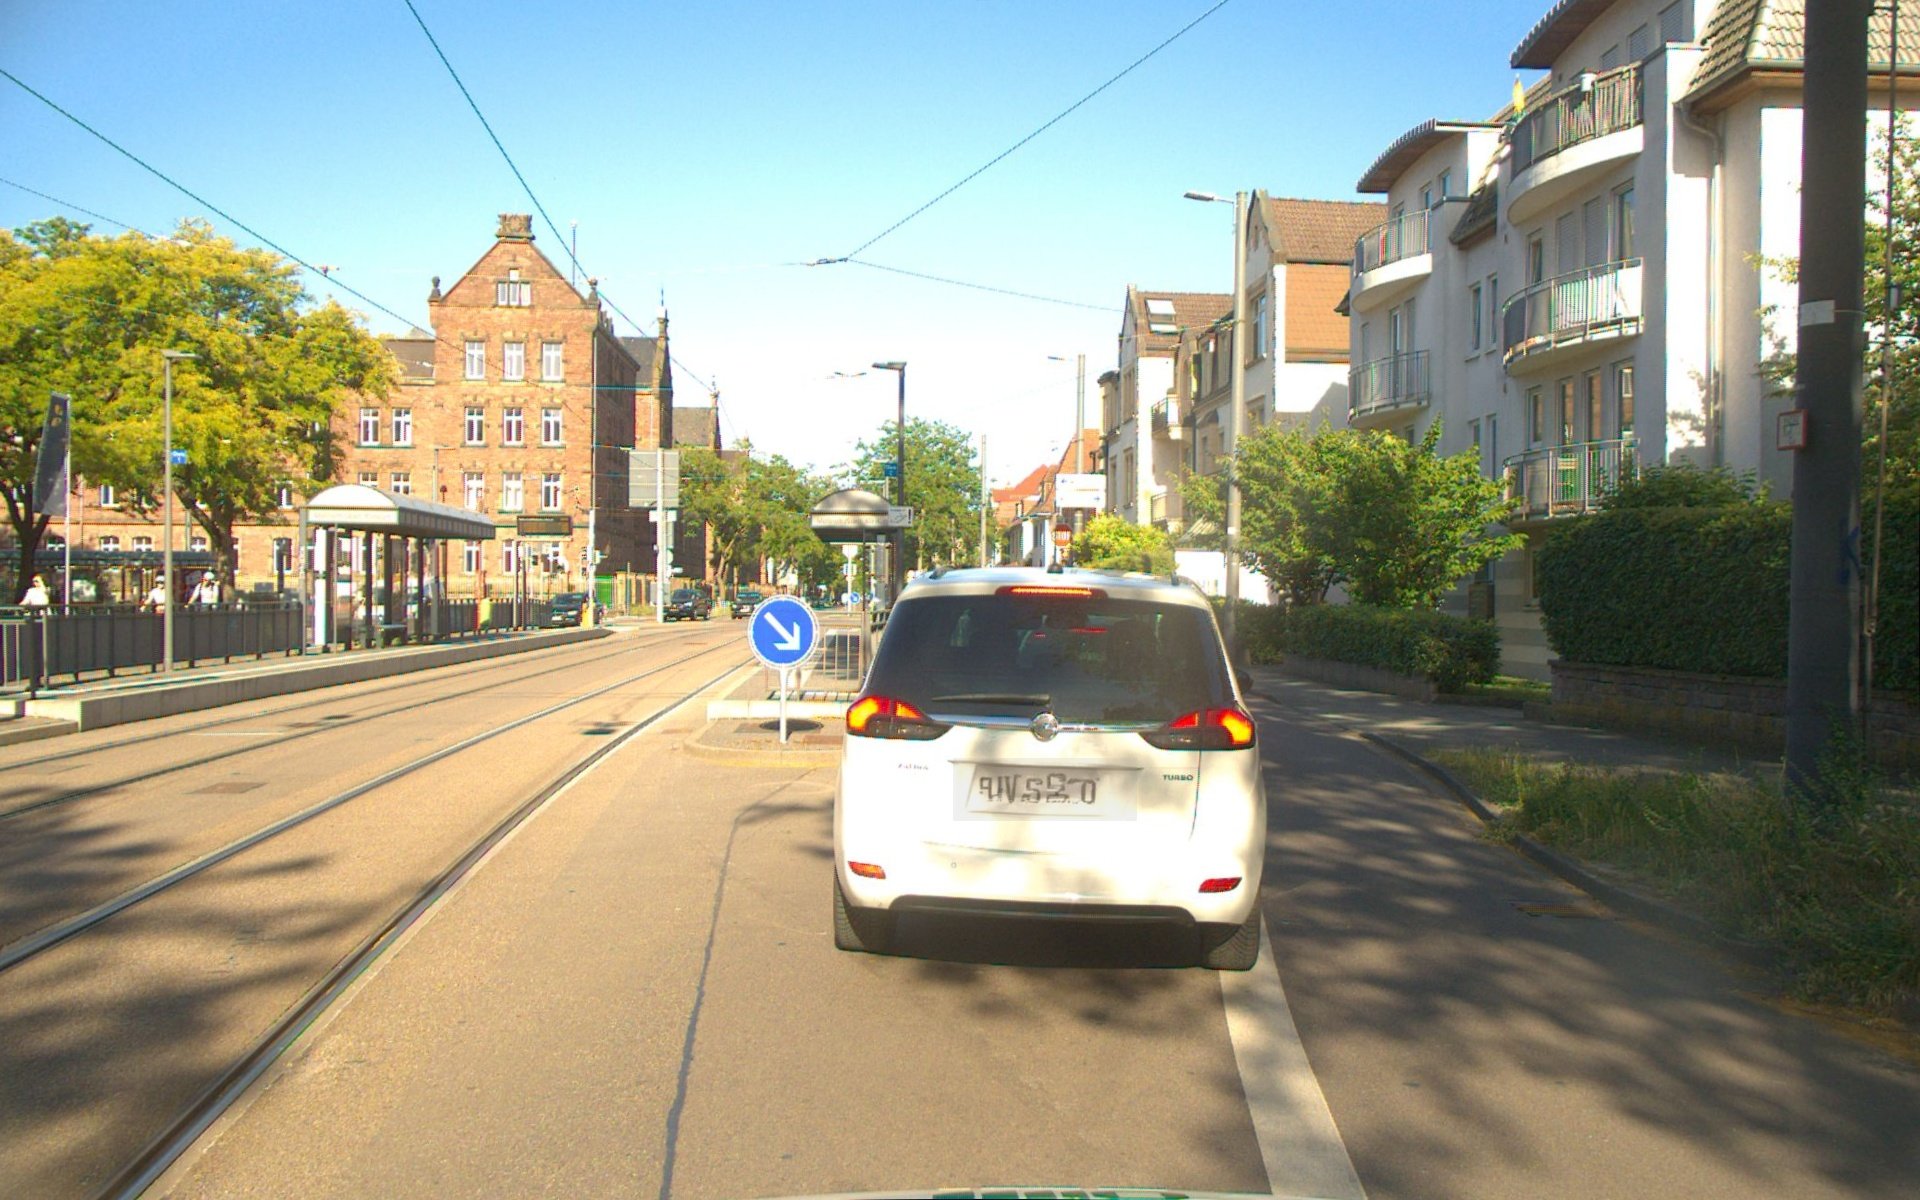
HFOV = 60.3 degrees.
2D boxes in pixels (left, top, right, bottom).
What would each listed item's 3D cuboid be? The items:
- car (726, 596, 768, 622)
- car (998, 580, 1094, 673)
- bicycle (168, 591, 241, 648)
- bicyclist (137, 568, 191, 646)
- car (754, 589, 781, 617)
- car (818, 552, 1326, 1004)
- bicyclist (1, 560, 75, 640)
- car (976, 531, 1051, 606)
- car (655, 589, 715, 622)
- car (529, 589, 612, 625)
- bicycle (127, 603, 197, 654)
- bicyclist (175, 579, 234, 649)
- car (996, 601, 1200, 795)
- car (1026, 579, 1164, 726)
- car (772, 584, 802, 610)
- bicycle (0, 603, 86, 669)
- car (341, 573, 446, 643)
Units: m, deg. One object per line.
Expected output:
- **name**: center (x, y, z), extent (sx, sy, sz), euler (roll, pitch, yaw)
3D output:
- **car**: center (-12.687, 0.550, 98.537), extent (1.789, 1.471, 4.328), euler (1, -1, 2)
- **car**: center (1.633, 0.481, 32.571), extent (1.563, 1.663, 3.900), euler (2, 0, -1)
- **bicycle**: center (-17.127, 0.424, 37.536), extent (0.761, 1.252, 2.087), euler (0, 0, -3)
- **bicyclist**: center (-18.035, 0.141, 37.511), extent (0.637, 1.703, 1.232), euler (2, 1, -3)
- **car**: center (-13.094, 0.222, 112.795), extent (1.792, 1.819, 4.321), euler (1, -1, -6)
- **car**: center (0.565, 0.636, 8.079), extent (1.838, 1.613, 4.002), euler (1, 0, 5)
- **bicyclist**: center (-17.711, -0.004, 31.805), extent (0.741, 1.496, 1.190), euler (1, 0, -2)
- **car**: center (1.254, -0.782, 40.169), extent (1.563, 1.663, 3.901), euler (2, 1, -1)
- **car**: center (-14.135, 0.313, 85.316), extent (1.788, 1.645, 4.331), euler (1, -1, 9)
- **car**: center (-16.157, 0.268, 68.760), extent (1.760, 1.406, 4.499), euler (0, 1, 9)
- **bicycle**: center (-18.051, 0.631, 37.458), extent (0.655, 1.091, 2.014), euler (1, 1, -3)
- **bicyclist**: center (-17.127, 0.304, 37.525), extent (0.745, 1.563, 1.347), euler (0, 0, -3)
- **car**: center (1.229, 0.764, 14.784), extent (1.536, 1.426, 3.786), euler (2, 0, 5)
- **car**: center (1.717, 0.592, 21.043), extent (1.536, 1.643, 3.786), euler (2, 0, 5)
- **car**: center (-13.951, -0.259, 133.726), extent (1.952, 2.049, 4.000), euler (0, 0, 0)
- **bicycle**: center (-17.722, 0.667, 31.796), extent (0.799, 1.219, 1.952), euler (1, 0, -2)
- **car**: center (-15.487, 0.203, 45.405), extent (1.791, 1.819, 4.250), euler (0, 0, -6)
